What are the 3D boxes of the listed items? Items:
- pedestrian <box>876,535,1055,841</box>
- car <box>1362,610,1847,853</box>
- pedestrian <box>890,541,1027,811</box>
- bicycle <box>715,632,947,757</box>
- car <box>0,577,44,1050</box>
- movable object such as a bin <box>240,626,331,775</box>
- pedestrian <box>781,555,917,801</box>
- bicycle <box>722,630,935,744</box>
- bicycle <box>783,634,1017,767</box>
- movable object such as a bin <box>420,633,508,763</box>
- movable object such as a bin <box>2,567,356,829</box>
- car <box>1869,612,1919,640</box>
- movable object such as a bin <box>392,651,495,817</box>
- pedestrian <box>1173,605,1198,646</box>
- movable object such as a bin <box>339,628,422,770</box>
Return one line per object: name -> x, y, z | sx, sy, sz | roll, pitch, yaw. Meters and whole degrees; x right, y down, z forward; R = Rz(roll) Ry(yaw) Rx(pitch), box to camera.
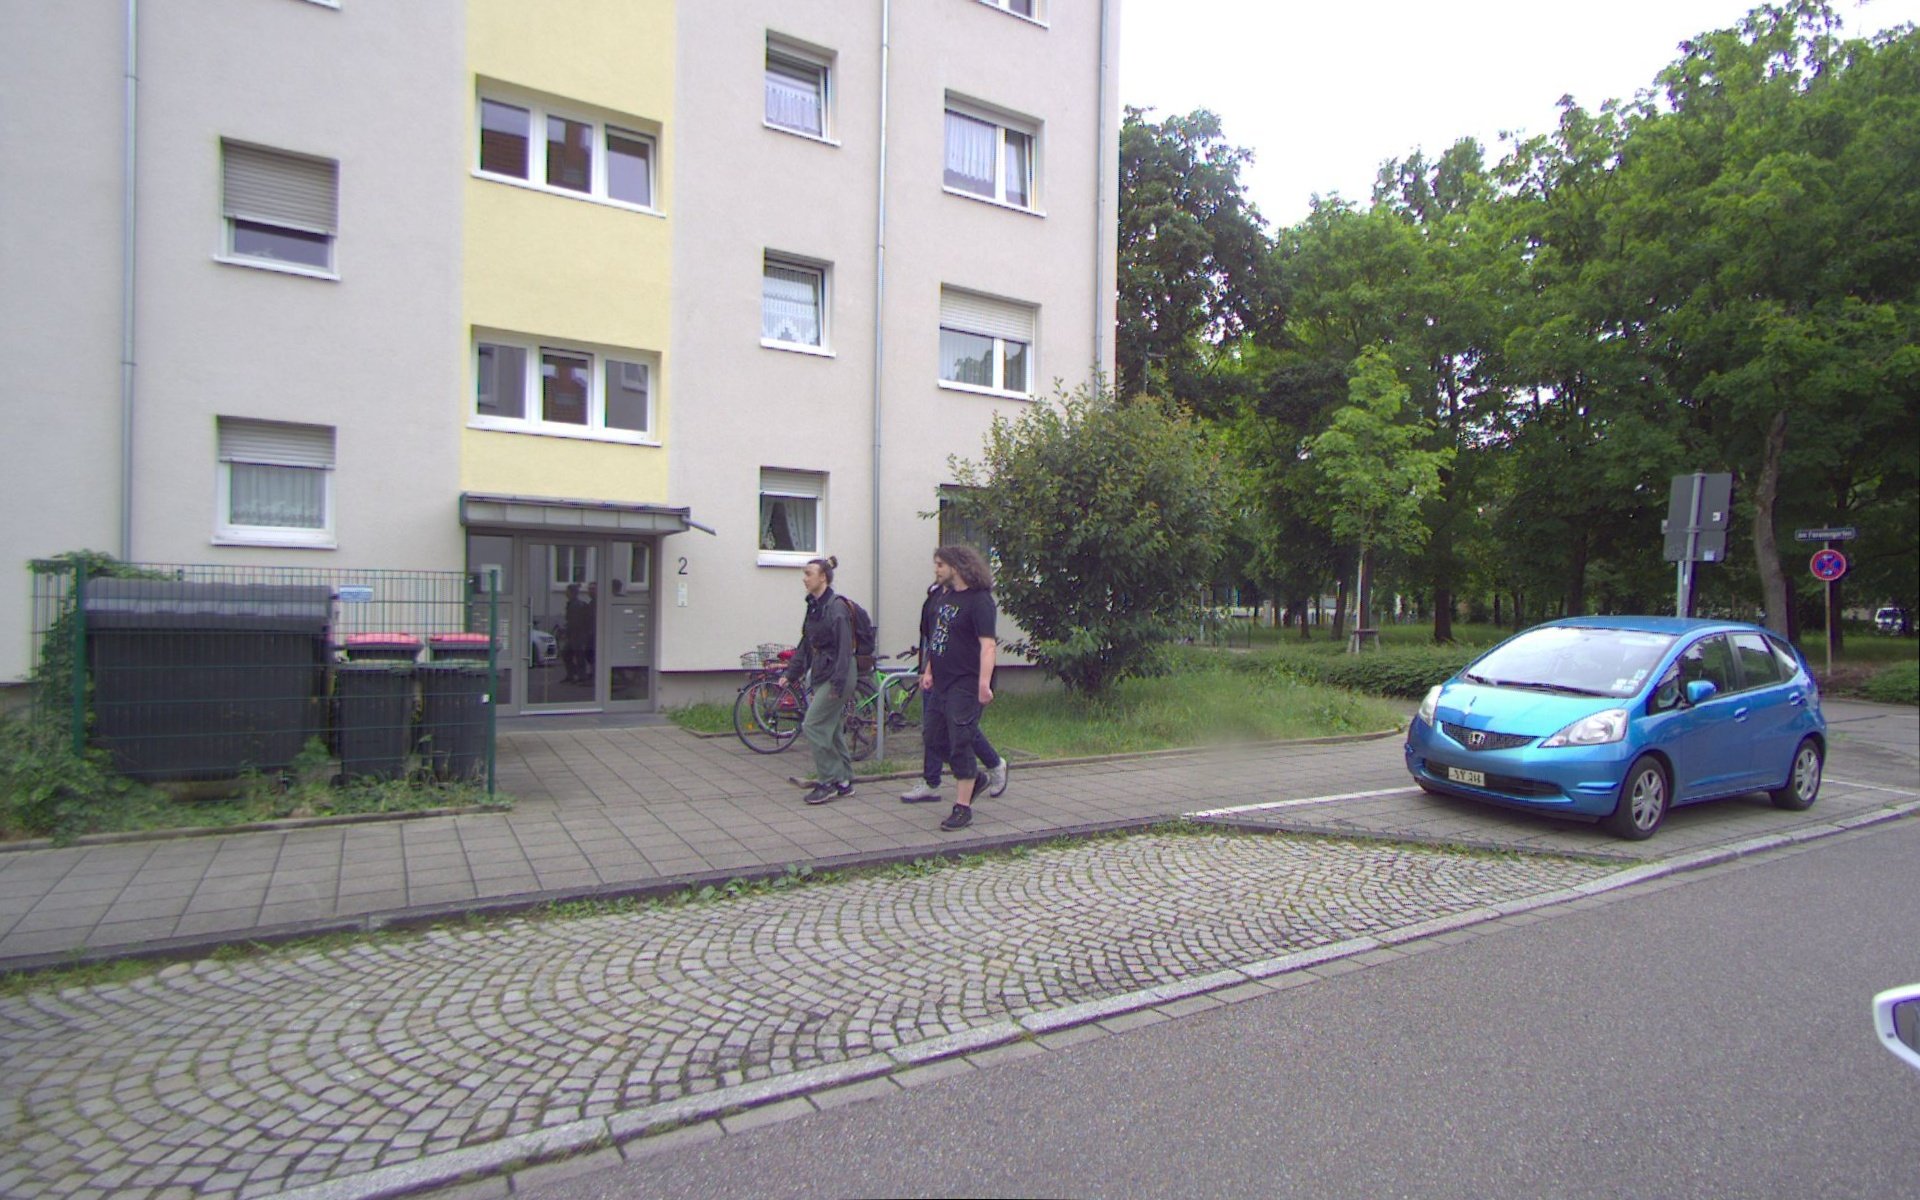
pedestrian -> 0.030, 0.540, 6.690 | 0.963, 1.889, 0.637 | 1, 2, -31
car -> 5.305, 0.877, 8.183 | 3.911, 1.482, 1.721 | 1, 2, -31
pedestrian -> -0.018, 0.535, 7.480 | 0.754, 1.879, 0.703 | 1, 0, -30
bicycle -> -1.224, 0.866, 9.754 | 2.149, 1.085, 0.654 | 0, 0, -30
car -> -4.659, 0.692, 2.042 | 3.872, 1.571, 1.644 | 1, 1, -33
movable object such as a bin -> -5.570, 0.795, 8.330 | 0.591, 1.131, 0.837 | 0, 0, -32
pedestrian -> -0.813, 0.539, 7.327 | 0.794, 1.679, 0.611 | 1, 0, -31
bicycle -> -1.362, 0.873, 10.621 | 2.149, 1.085, 0.654 | 0, 0, -30
bicycle -> -0.523, 0.877, 9.288 | 2.096, 1.082, 0.654 | 0, 0, -30
movable object such as a bin -> -4.442, 0.840, 8.980 | 0.627, 1.065, 0.859 | 0, 0, -31
movable object such as a bin -> -4.962, 0.545, 6.637 | 1.652, 1.440, 1.581 | 1, 0, -31
car -> 57.584, 1.573, 61.532 | 3.958, 1.639, 1.906 | 1, -1, -34
movable object such as a bin -> -3.567, 0.895, 6.928 | 0.591, 1.047, 0.534 | 0, 0, -32
pedestrian -> 8.823, 0.990, 39.334 | 0.648, 1.604, 0.693 | 0, 0, -28
movable object such as a bin -> -5.019, 0.818, 8.687 | 0.591, 1.131, 0.837 | 0, 0, -32
